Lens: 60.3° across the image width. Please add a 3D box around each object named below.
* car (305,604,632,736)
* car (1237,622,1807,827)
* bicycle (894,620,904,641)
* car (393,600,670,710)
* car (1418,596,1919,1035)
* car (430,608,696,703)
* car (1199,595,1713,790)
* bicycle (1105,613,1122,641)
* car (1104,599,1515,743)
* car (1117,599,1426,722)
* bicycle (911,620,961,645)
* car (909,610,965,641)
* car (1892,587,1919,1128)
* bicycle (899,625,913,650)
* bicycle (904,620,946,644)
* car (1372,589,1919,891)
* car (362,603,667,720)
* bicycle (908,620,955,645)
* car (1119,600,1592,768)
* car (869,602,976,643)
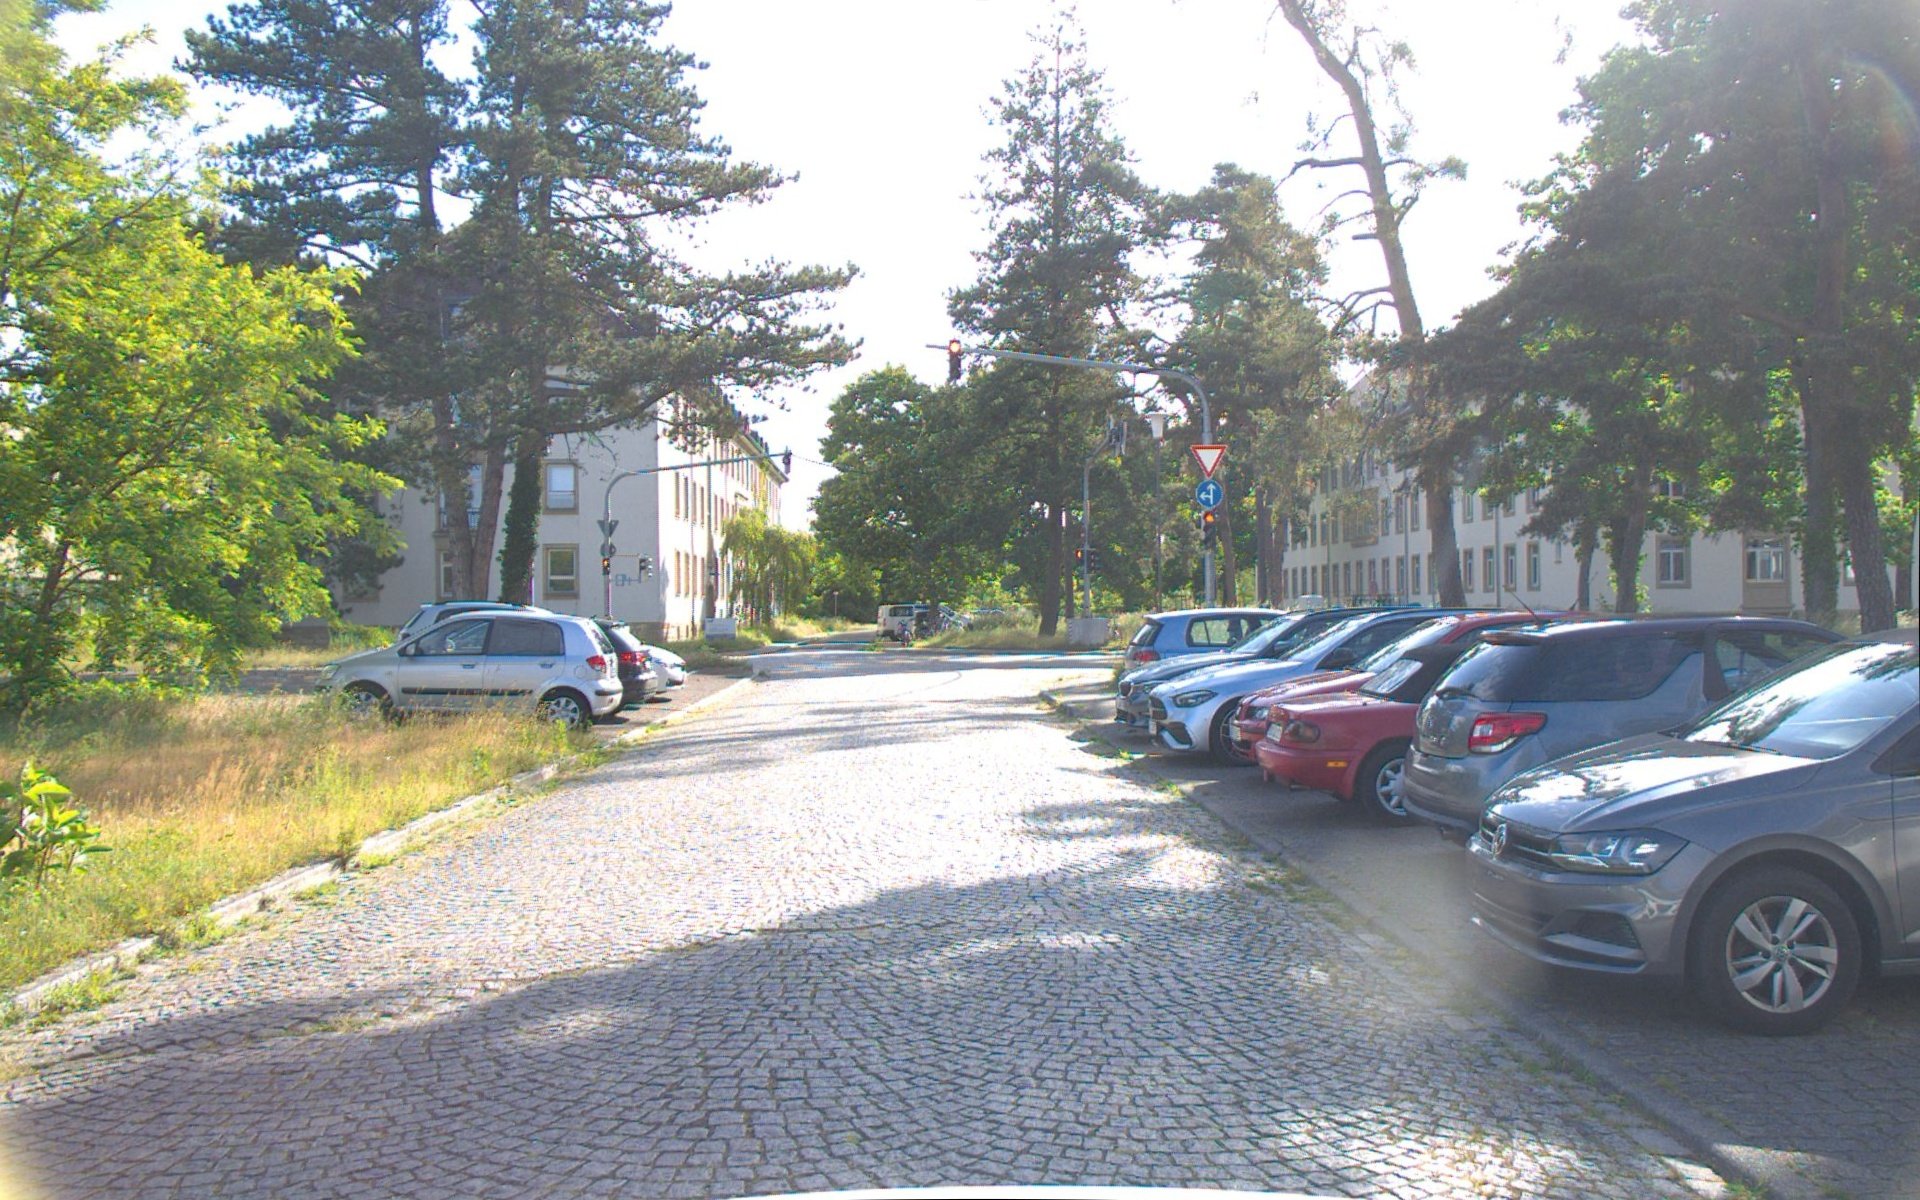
[{"bbox_3d":[-6.147,0.862,21.005,3.673,1.513,1.644,1,0,-5],"label":"car"},{"bbox_3d":[4.060,0.873,12.368,3.632,1.244,1.746,-2,0,-2],"label":"car"},{"bbox_3d":[-2.963,1.495,80.632,0.409,1.028,1.483,1,-1,-1],"label":"bicycle"},{"bbox_3d":[-6.791,0.858,26.563,4.000,1.621,1.883,1,0,-5],"label":"car"},{"bbox_3d":[4.008,0.744,6.896,3.632,1.474,1.856,-2,0,-2],"label":"car"},{"bbox_3d":[-6.846,0.956,28.914,4.249,1.494,1.829,1,0,-5],"label":"car"},{"bbox_3d":[4.305,0.776,14.743,4.044,1.474,1.636,-2,0,-2],"label":"car"},{"bbox_3d":[5.488,0.975,59.182,0.295,0.977,1.584,1,-1,-5],"label":"bicycle"},{"bbox_3d":[4.041,0.803,19.568,4.467,1.440,1.636,-2,0,-2],"label":"car"},{"bbox_3d":[4.141,0.790,22.352,3.804,1.440,1.636,-2,0,-2],"label":"car"},{"bbox_3d":[-1.036,1.404,71.045,2.070,1.028,0.619,2,-1,-10],"label":"bicycle"},{"bbox_3d":[-1.186,1.312,85.521,2.728,1.492,1.669,2,-1,-7],"label":"car"},{"bbox_3d":[4.576,0.674,3.994,3.632,1.561,1.760,-2,0,-2],"label":"car"},{"bbox_3d":[-2.197,1.522,67.438,0.458,1.028,1.584,1,-1,-5],"label":"bicycle"},{"bbox_3d":[-1.559,1.455,74.496,1.804,1.028,0.634,2,-1,-10],"label":"bicycle"},{"bbox_3d":[4.511,0.738,9.783,3.633,1.474,1.816,-2,0,-2],"label":"car"},{"bbox_3d":[-6.274,0.854,23.661,3.909,1.506,1.801,1,0,-5],"label":"car"},{"bbox_3d":[-1.255,1.430,72.750,1.968,1.028,0.630,2,-1,-10],"label":"bicycle"},{"bbox_3d":[3.909,0.805,16.848,4.342,1.440,1.780,-2,0,-2],"label":"car"},{"bbox_3d":[-2.009,1.198,88.999,5.440,2.049,1.988,2,-1,-20],"label":"car"}]
